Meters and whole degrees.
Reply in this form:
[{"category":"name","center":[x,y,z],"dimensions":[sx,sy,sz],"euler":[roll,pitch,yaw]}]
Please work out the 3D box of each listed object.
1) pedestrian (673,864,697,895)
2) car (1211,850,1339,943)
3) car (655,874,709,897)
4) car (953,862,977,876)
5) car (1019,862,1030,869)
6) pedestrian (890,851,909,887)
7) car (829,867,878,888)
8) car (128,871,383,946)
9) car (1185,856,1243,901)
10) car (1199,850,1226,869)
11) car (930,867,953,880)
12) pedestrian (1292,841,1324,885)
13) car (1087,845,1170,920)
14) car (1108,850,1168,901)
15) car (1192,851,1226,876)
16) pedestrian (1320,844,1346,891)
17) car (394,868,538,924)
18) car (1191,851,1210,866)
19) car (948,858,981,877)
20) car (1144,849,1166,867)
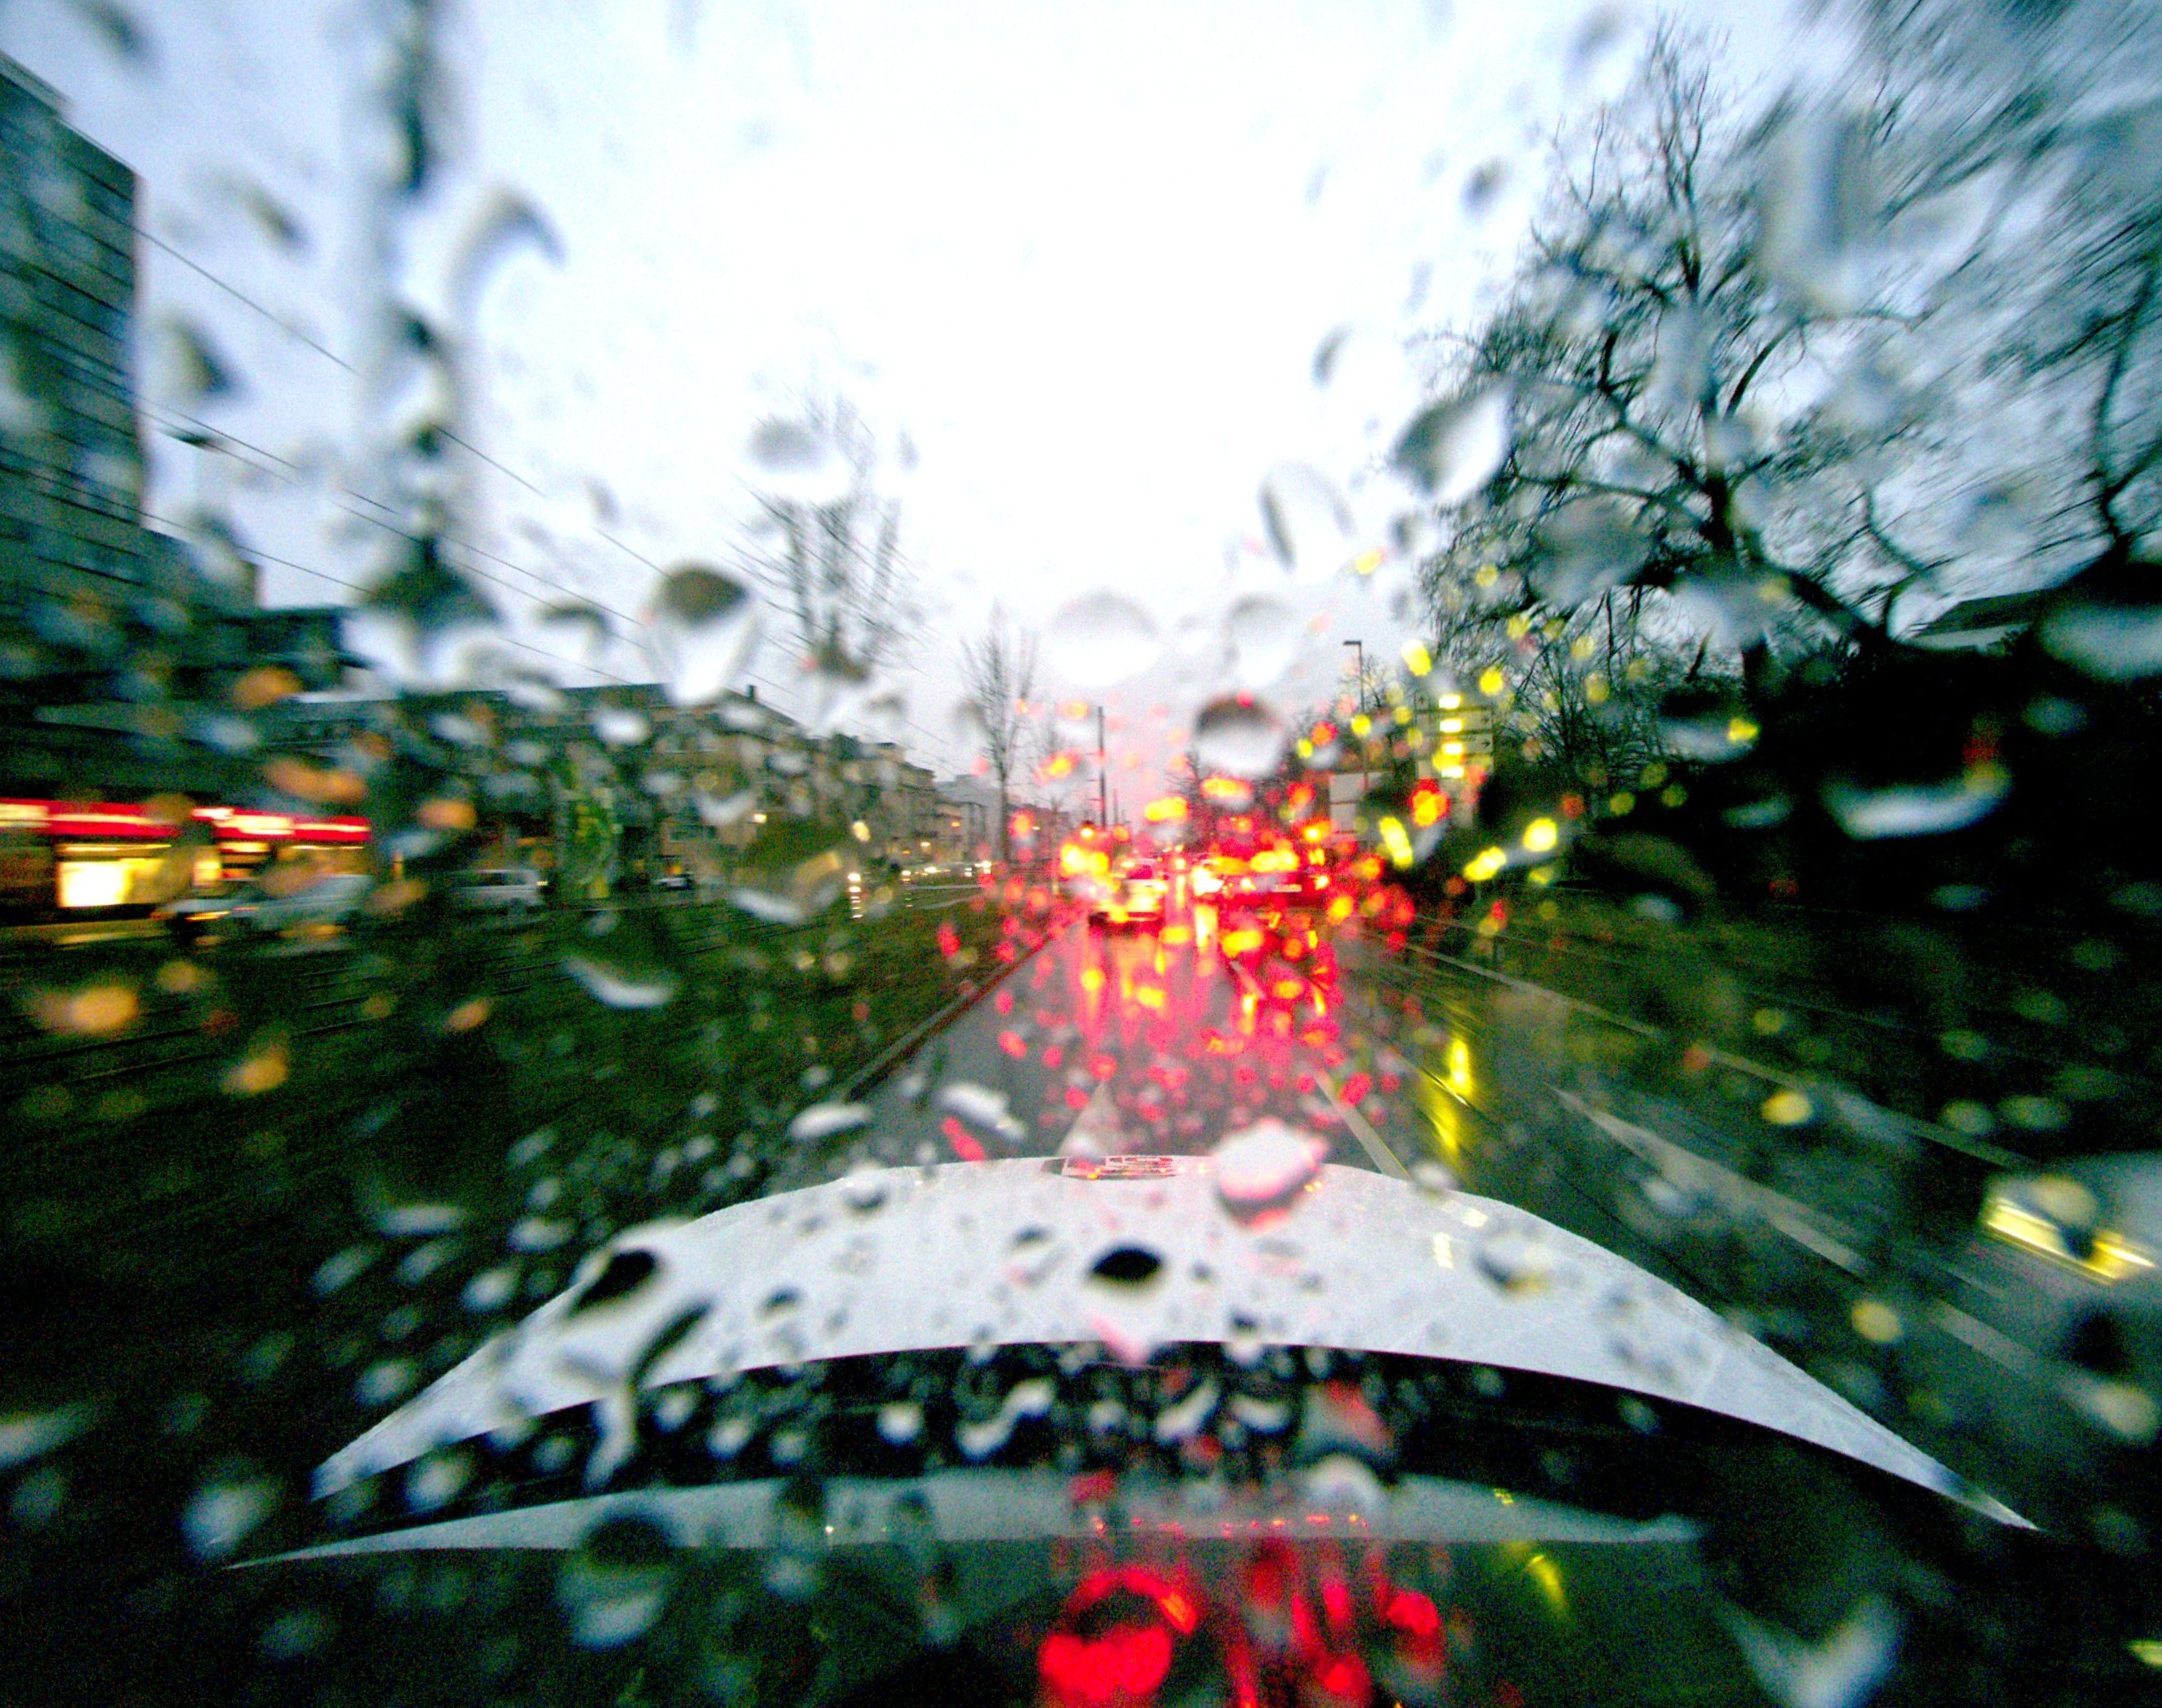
[{"category":"pedestrian","center":[-26.310,1.700,54.136],"dimensions":[1.273,2.013,1.001],"euler":[-2,0,-19]},{"category":"car","center":[3.528,0.715,15.476],"dimensions":[1.791,1.511,3.900],"euler":[-2,0,5]},{"category":"car","center":[-34.620,2.691,70.796],"dimensions":[3.740,1.942,1.840],"euler":[0,-1,-3]},{"category":"car","center":[-13.093,1.677,92.295],"dimensions":[1.858,1.577,4.005],"euler":[-2,0,5]},{"category":"car","center":[-12.904,2.637,186.627],"dimensions":[1.941,1.602,4.006],"euler":[0,-1,5]},{"category":"pedestrian","center":[-10.367,0.865,46.546],"dimensions":[1.005,2.013,0.958],"euler":[-2,0,-11]},{"category":"car","center":[-15.411,1.564,55.395],"dimensions":[1.850,1.332,4.321],"euler":[0,-1,5]},{"category":"car","center":[-26.156,1.620,26.207],"dimensions":[1.981,2.046,5.580],"euler":[0,-1,10]},{"category":"car","center":[4.528,0.808,28.135],"dimensions":[1.737,1.433,3.737],"euler":[0,-1,5]},{"category":"car","center":[10.190,0.402,63.319],"dimensions":[1.729,1.419,3.708],"euler":[-2,0,5]},{"category":"car","center":[-14.542,2.018,84.875],"dimensions":[1.686,1.277,4.146],"euler":[-1,0,-1]},{"category":"pedestrian","center":[10.551,0.424,37.894],"dimensions":[0.961,2.013,1.001],"euler":[-2,0,-18]},{"category":"car","center":[1.076,0.587,18.730],"dimensions":[1.686,1.533,4.003],"euler":[0,0,3]},{"category":"car","center":[1.933,0.652,27.004],"dimensions":[1.790,1.466,4.592],"euler":[-2,0,5]},{"category":"car","center":[7.691,0.541,49.287],"dimensions":[1.729,1.419,3.708],"euler":[-2,0,5]},{"category":"pedestrian","center":[10.982,0.581,35.504],"dimensions":[0.952,2.013,1.011],"euler":[-2,0,13]},{"category":"car","center":[-26.638,1.738,35.361],"dimensions":[4.857,2.244,1.976],"euler":[1,-1,-41]},{"category":"car","center":[12.447,0.460,85.219],"dimensions":[1.729,1.419,4.151],"euler":[-2,0,5]},{"category":"car","center":[-10.066,1.154,70.405],"dimensions":[1.985,1.602,4.004],"euler":[0,-1,4]},{"category":"car","center":[6.172,0.310,67.911],"dimensions":[1.729,1.419,4.400],"euler":[-2,0,5]}]
